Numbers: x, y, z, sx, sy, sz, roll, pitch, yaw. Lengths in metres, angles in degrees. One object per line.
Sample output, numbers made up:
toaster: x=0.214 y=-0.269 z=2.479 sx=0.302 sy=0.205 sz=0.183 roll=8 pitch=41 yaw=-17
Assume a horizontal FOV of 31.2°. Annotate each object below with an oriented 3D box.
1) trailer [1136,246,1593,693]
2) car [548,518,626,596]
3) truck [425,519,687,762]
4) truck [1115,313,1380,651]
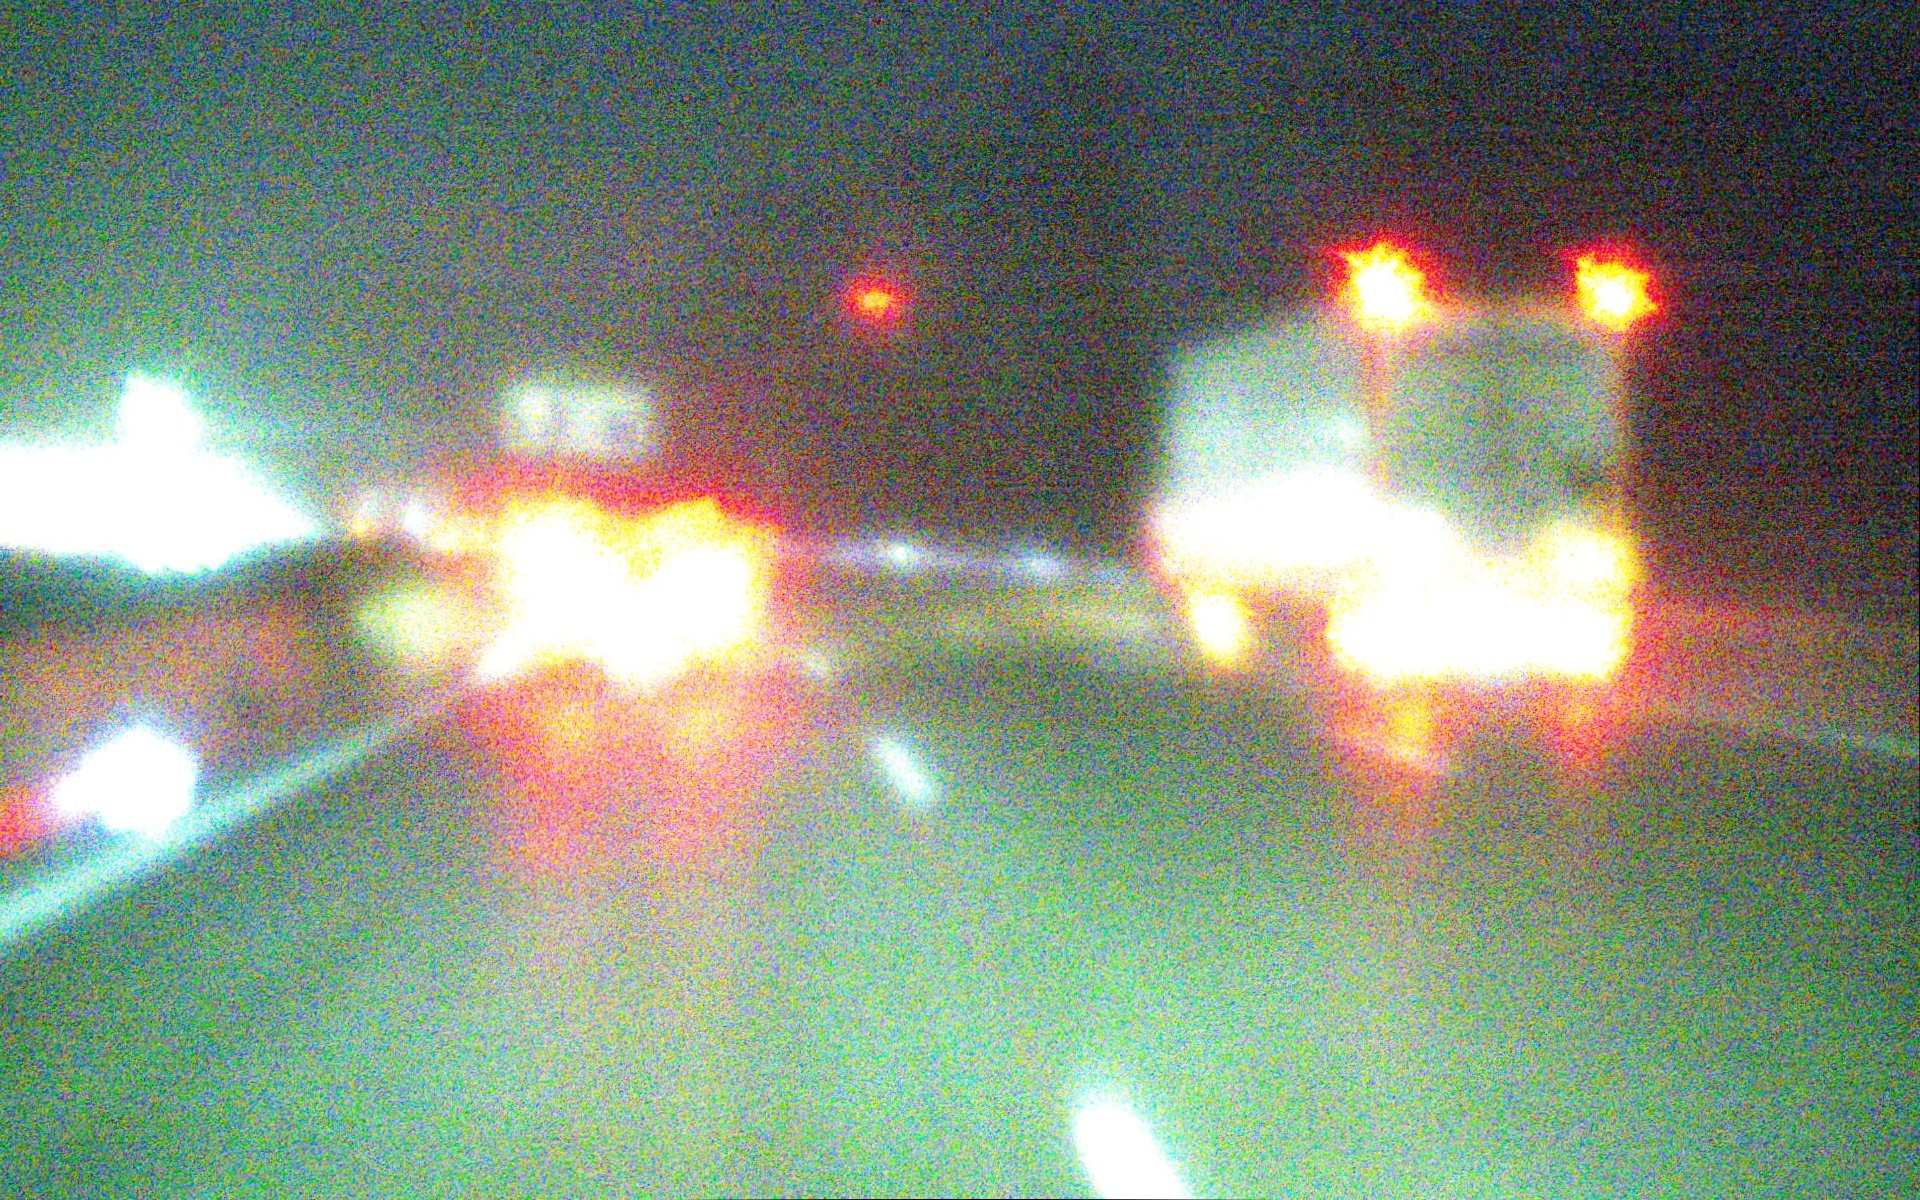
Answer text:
trailer: x=4.226 y=-1.395 z=39.614 sx=2.739 sy=4.233 sz=13.374 roll=-1 pitch=1 yaw=-4
car: x=-9.827 y=-1.136 z=90.646 sx=1.993 sy=2.007 sz=4.001 roll=0 pitch=1 yaw=-6
truck: x=-4.132 y=0.310 z=36.250 sx=2.145 sy=2.070 sz=6.605 roll=5 pitch=2 yaw=-3
truck: x=3.765 y=-1.542 z=46.219 sx=2.710 sy=4.227 sz=5.294 roll=1 pitch=1 yaw=-4
